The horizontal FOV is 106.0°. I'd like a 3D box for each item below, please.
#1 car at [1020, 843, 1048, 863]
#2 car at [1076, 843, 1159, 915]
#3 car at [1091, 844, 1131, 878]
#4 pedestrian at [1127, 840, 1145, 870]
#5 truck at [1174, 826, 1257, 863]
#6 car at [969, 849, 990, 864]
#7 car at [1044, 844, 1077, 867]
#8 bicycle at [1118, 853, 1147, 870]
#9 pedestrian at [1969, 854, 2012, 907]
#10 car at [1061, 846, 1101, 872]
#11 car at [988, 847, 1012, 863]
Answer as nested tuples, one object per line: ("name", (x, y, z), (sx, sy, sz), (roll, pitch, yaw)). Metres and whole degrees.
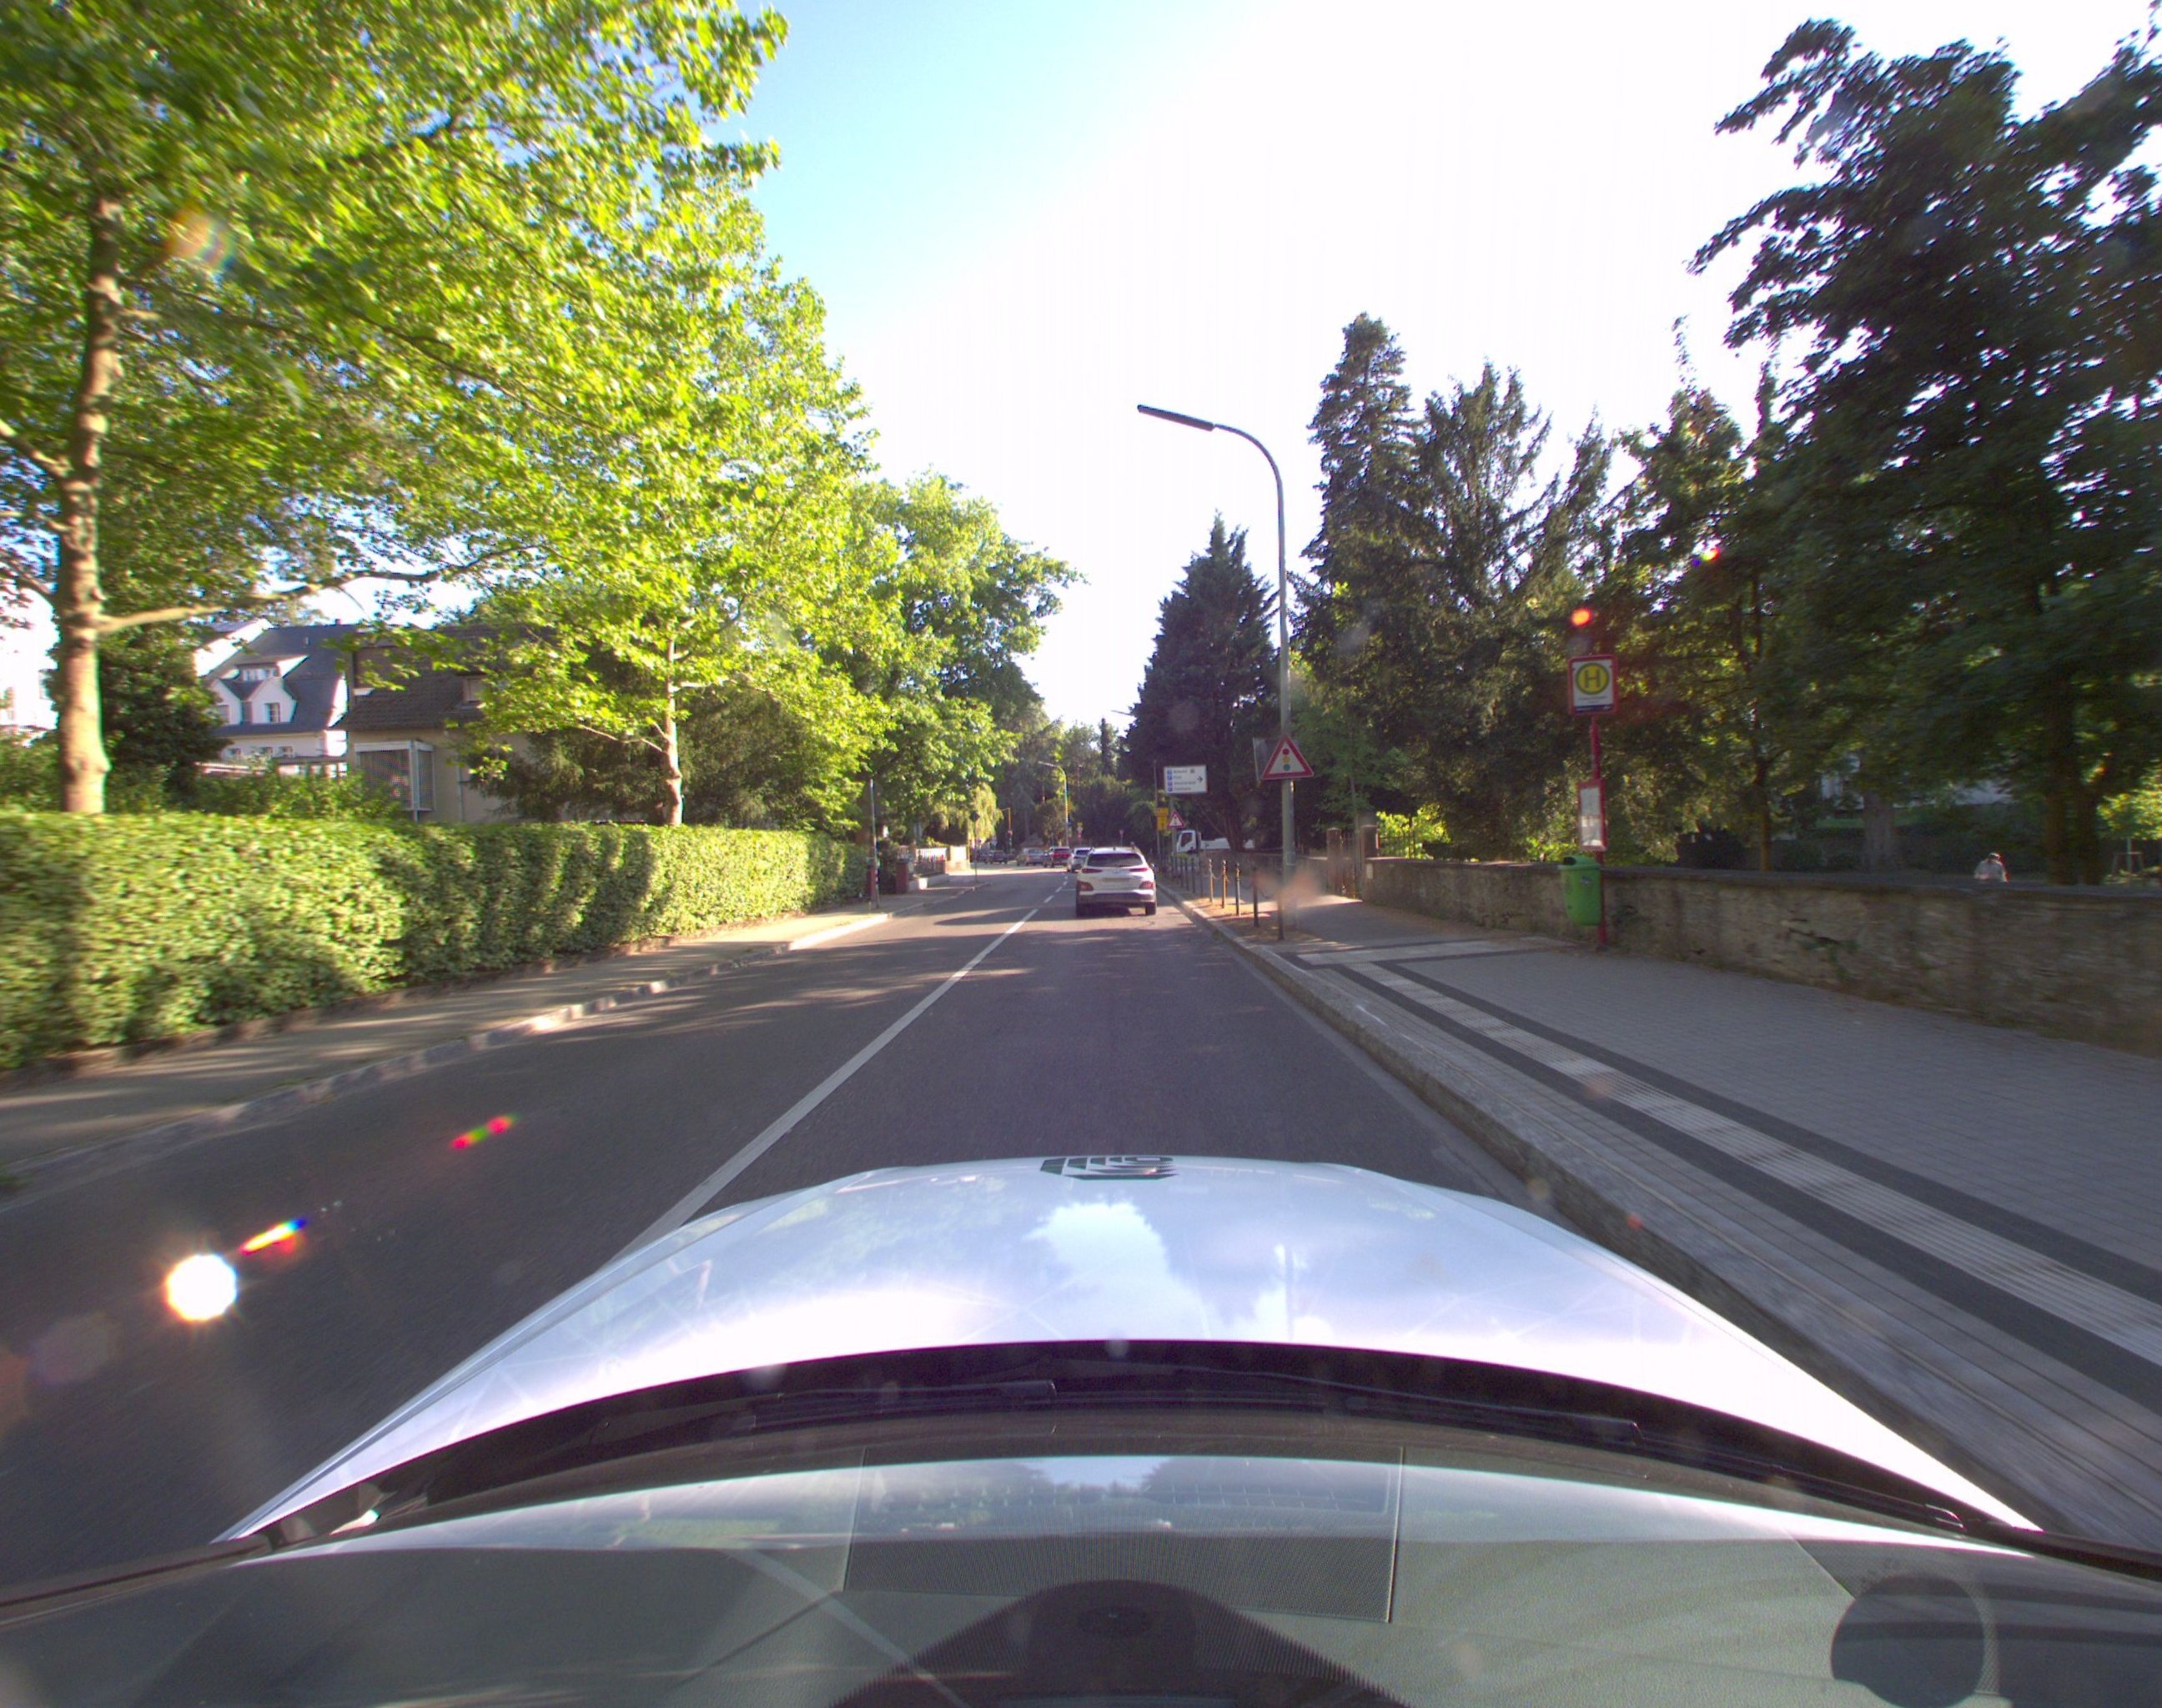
("car", (-4.257, -0.148, 72.970), (1.834, 1.740, 3.981), (0, 1, -14))
("car", (0.837, 0.519, 19.804), (1.814, 1.574, 4.001), (0, 0, 1))
("car", (1.335, 0.284, 37.085), (1.702, 1.434, 4.366), (0, 1, 1))
("pedestrian", (3.426, 0.049, 50.479), (0.947, 1.826, 0.548), (-1, 2, -37))
("truck", (10.829, -0.745, 66.122), (6.553, 2.894, 2.438), (0, 0, 6))
("car", (-12.170, 0.294, 97.484), (1.836, 1.662, 3.977), (0, 1, -17))
("car", (-1.564, 0.103, 61.827), (1.833, 1.662, 3.984), (0, 1, -12))
("bicycle", (3.229, 0.452, 50.882), (1.826, 1.043, 0.555), (-1, 2, -36))
("pedestrian", (28.177, 0.811, 25.231), (0.612, 1.640, 0.637), (0, 0, 3))
("car", (-0.023, 0.249, 50.506), (1.806, 1.537, 3.986), (0, 1, -10))
("car", (-8.653, 0.122, 86.399), (1.835, 1.662, 3.979), (0, 1, -16))
